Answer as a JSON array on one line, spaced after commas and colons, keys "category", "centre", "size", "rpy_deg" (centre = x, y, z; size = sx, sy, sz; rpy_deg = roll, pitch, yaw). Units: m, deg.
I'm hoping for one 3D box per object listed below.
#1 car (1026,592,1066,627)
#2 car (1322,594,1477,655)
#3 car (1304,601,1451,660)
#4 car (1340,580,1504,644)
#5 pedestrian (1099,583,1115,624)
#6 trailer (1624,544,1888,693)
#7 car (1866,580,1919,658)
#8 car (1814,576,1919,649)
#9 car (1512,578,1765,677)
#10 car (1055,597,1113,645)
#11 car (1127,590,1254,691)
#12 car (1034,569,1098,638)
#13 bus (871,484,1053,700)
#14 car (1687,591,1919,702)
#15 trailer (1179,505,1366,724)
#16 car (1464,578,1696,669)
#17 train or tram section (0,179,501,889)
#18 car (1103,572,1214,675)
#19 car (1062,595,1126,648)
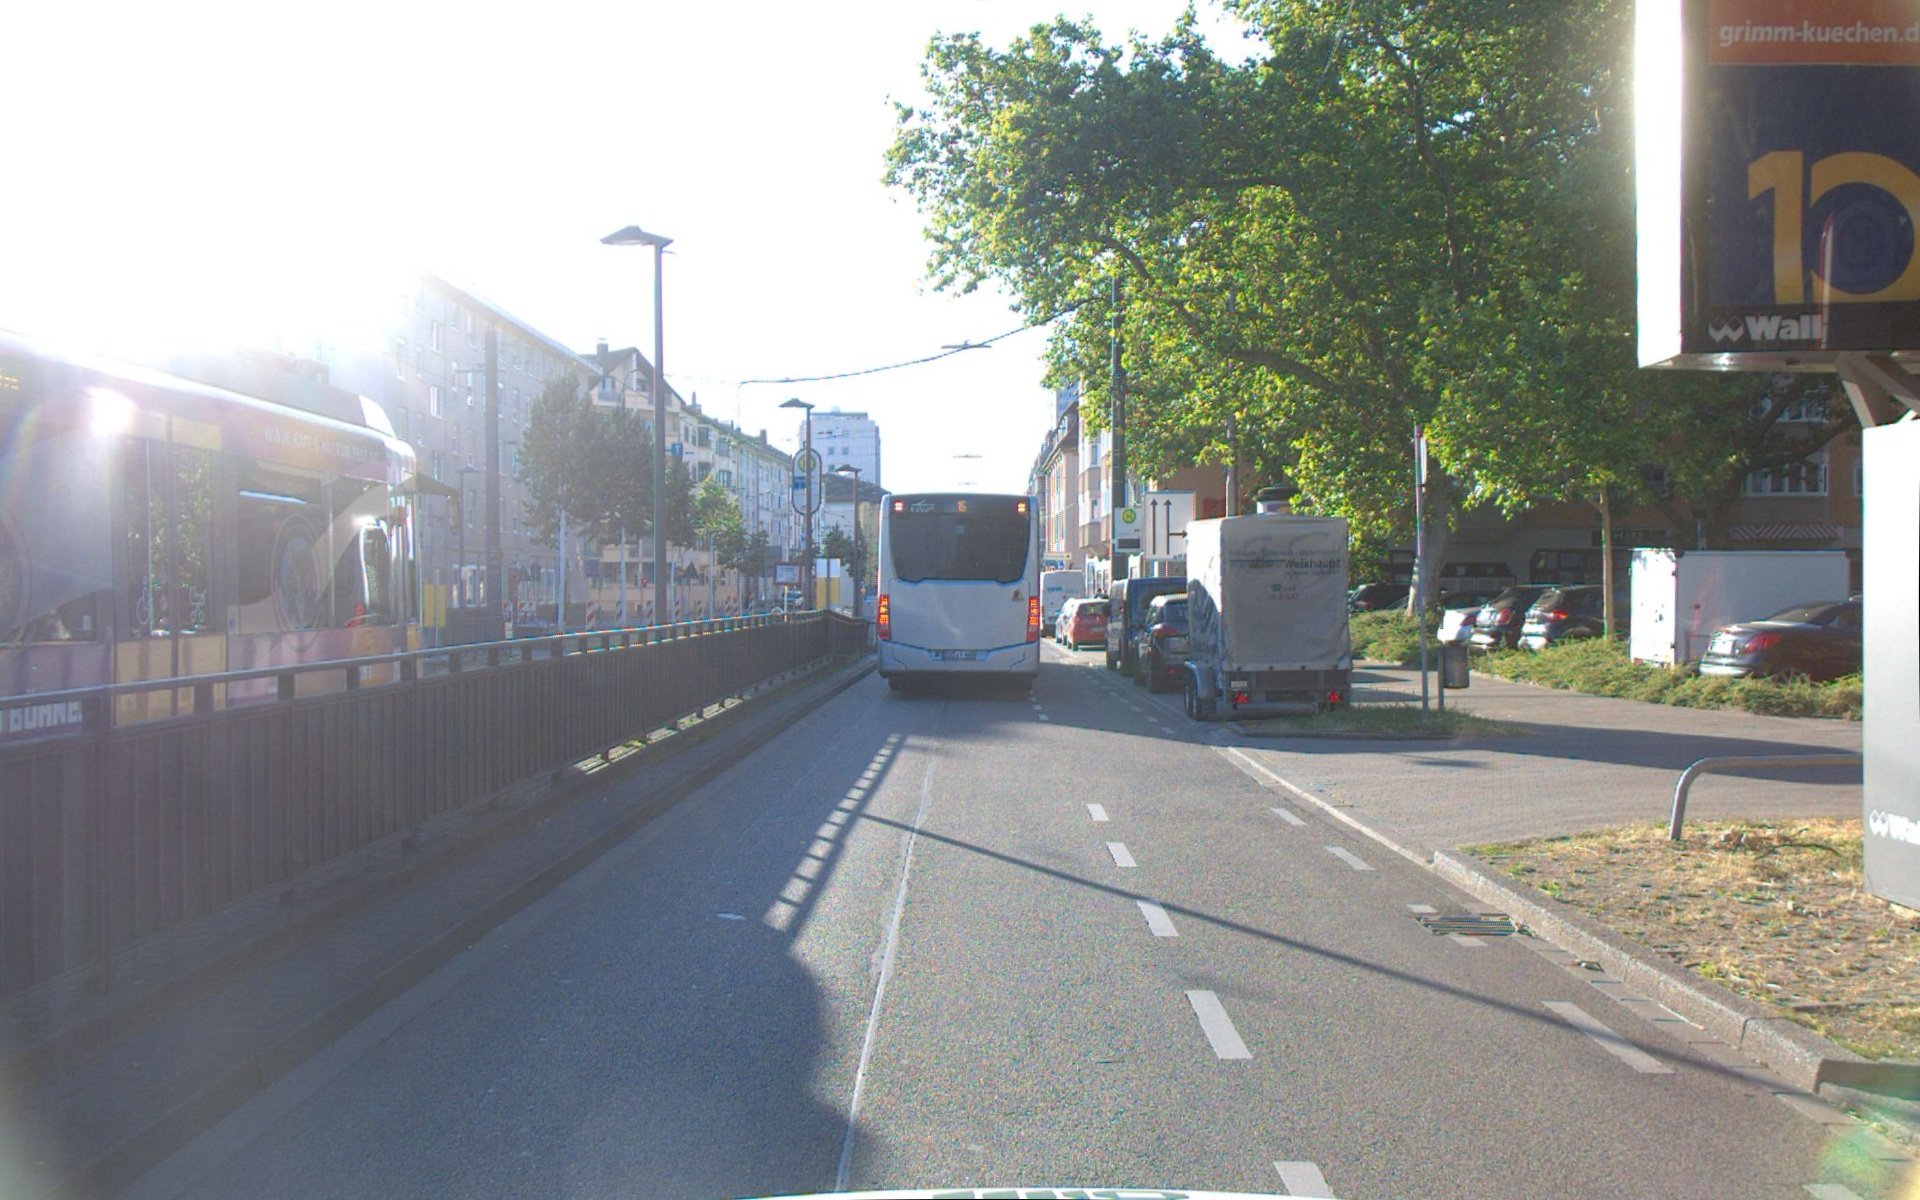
[{"category": "car", "centre": [4.030, 0.440, 78.127], "size": [1.694, 1.602, 3.675], "rpy_deg": [0, 0, 0]}, {"category": "car", "centre": [12.111, 0.664, 45.747], "size": [3.840, 1.616, 1.706], "rpy_deg": [-1, 0, 0]}, {"category": "car", "centre": [12.114, 0.874, 48.179], "size": [3.840, 1.616, 1.706], "rpy_deg": [-1, 0, 0]}, {"category": "car", "centre": [12.127, 0.318, 43.605], "size": [3.840, 1.616, 1.706], "rpy_deg": [-1, 0, 0]}, {"category": "pedestrian", "centre": [7.188, 0.184, 80.899], "size": [0.671, 1.981, 1.116], "rpy_deg": [0, -2, 0]}, {"category": "trailer", "centre": [11.654, 0.262, 24.378], "size": [3.001, 2.106, 1.879], "rpy_deg": [0, 0, 1]}, {"category": "car", "centre": [22.662, 0.392, 36.597], "size": [4.189, 1.671, 1.872], "rpy_deg": [0, 0, 0]}, {"category": "car", "centre": [22.722, 0.275, 38.993], "size": [4.189, 1.671, 1.872], "rpy_deg": [-1, 0, 0]}, {"category": "car", "centre": [12.101, 0.483, 29.654], "size": [3.840, 1.665, 1.706], "rpy_deg": [-1, 0, 0]}, {"category": "car", "centre": [4.130, 0.673, 55.658], "size": [1.637, 1.488, 3.933], "rpy_deg": [-3, 0, 0]}, {"category": "car", "centre": [3.917, 0.656, 28.652], "size": [1.666, 1.616, 3.827], "rpy_deg": [-1, 0, 0]}, {"category": "car", "centre": [4.225, 0.140, 66.783], "size": [2.235, 2.673, 5.309], "rpy_deg": [-1, 0, 0]}, {"category": "bus", "centre": [-0.005, -0.123, 30.031], "size": [2.677, 3.194, 10.702], "rpy_deg": [1, 0, 0]}, {"category": "car", "centre": [11.836, 0.578, 21.688], "size": [3.839, 1.359, 1.706], "rpy_deg": [-1, 0, 1]}, {"category": "trailer", "centre": [3.979, 0.175, 21.576], "size": [1.795, 2.602, 3.318], "rpy_deg": [-1, 0, 0]}, {"category": "car", "centre": [11.946, 0.446, 32.017], "size": [3.840, 1.666, 1.706], "rpy_deg": [-1, 0, 0]}, {"category": "train or tram section", "centre": [-6.114, -0.333, 10.482], "size": [2.586, 3.580, 13.334], "rpy_deg": [-1, 0, 0]}, {"category": "car", "centre": [4.095, 0.464, 34.747], "size": [1.809, 1.991, 4.543], "rpy_deg": [-1, 0, 0]}, {"category": "car", "centre": [4.071, 0.637, 50.762], "size": [1.637, 1.488, 3.933], "rpy_deg": [-3, 0, 0]}]
